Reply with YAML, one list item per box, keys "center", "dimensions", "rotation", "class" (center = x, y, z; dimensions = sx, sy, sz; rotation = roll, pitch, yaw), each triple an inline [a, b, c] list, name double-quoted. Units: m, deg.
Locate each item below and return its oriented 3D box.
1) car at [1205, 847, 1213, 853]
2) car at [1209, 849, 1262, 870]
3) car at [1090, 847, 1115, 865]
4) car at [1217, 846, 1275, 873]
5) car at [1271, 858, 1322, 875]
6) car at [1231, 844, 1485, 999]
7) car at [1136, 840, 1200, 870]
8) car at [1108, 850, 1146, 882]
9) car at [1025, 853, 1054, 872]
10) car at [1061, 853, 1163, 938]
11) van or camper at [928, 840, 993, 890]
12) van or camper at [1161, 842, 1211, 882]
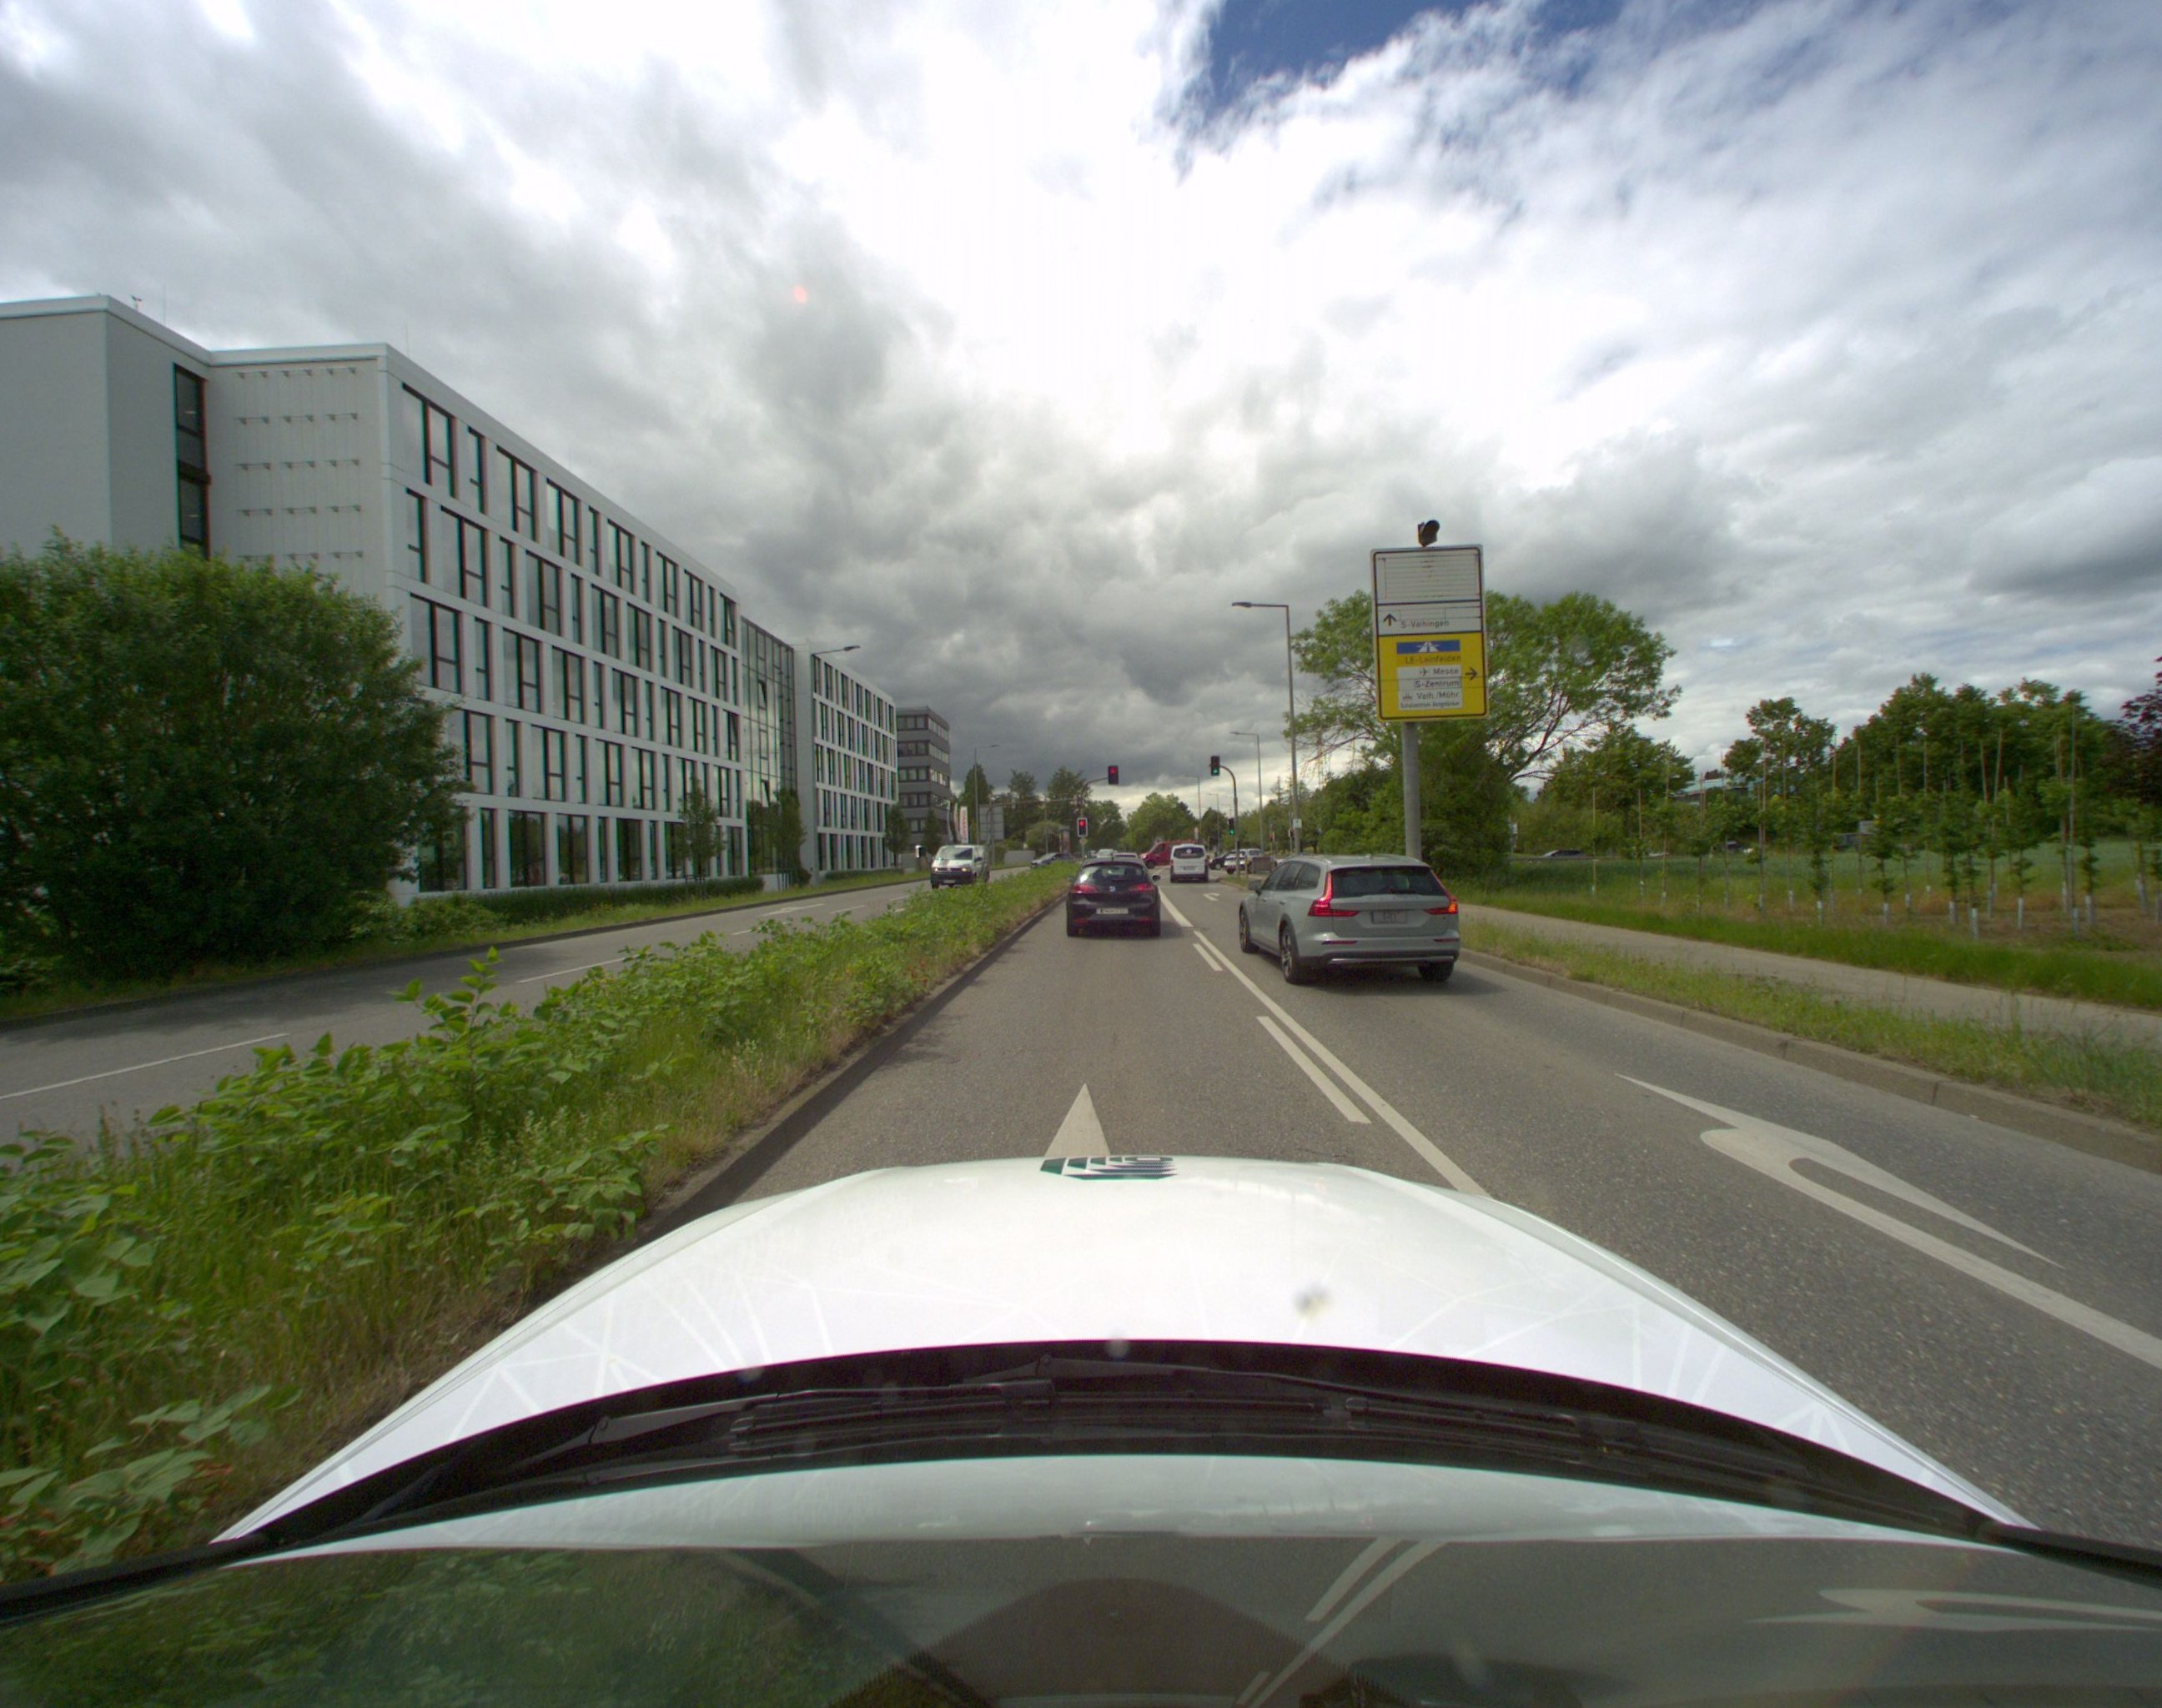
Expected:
- center: [33.229, -1.077, 211.599]
  dimensions: [1.980, 1.352, 4.013]
  rotation: [-1, 0, 11]
  class: "car"
- center: [12.372, 0.452, 65.315]
  dimensions: [3.967, 1.596, 2.003]
  rotation: [-1, 0, 6]
  class: "car"
- center: [2.104, 0.191, 77.478]
  dimensions: [1.983, 1.596, 4.008]
  rotation: [-1, 0, 6]
  class: "car"
- center: [10.635, 0.347, 52.309]
  dimensions: [1.974, 1.596, 4.026]
  rotation: [-2, 0, 38]
  class: "car"
- center: [18.449, 1.093, 69.916]
  dimensions: [3.967, 1.354, 2.003]
  rotation: [-1, 0, 6]
  class: "car"
- center: [3.243, 0.682, 10.551]
  dimensions: [1.856, 1.518, 4.448]
  rotation: [-2, 0, 2]
  class: "car"
- center: [7.502, 0.089, 70.440]
  dimensions: [5.209, 2.412, 1.999]
  rotation: [-2, 0, -2]
  class: "car"
- center: [2.291, 0.593, 41.698]
  dimensions: [1.767, 1.491, 3.583]
  rotation: [-2, 0, 1]
  class: "car"
- center: [-3.342, 0.653, 65.660]
  dimensions: [1.925, 1.398, 4.003]
  rotation: [-1, 0, 3]
  class: "car"
- center: [0.647, 0.731, 15.985]
  dimensions: [1.765, 1.451, 3.585]
  rotation: [0, 0, 3]
  class: "car"
- center: [-5.338, 0.464, 36.615]
  dimensions: [1.986, 2.013, 4.818]
  rotation: [-2, 0, 2]
  class: "van or camper"
- center: [5.286, 0.377, 41.561]
  dimensions: [1.986, 1.860, 4.945]
  rotation: [-2, 0, 2]
  class: "van or camper"
